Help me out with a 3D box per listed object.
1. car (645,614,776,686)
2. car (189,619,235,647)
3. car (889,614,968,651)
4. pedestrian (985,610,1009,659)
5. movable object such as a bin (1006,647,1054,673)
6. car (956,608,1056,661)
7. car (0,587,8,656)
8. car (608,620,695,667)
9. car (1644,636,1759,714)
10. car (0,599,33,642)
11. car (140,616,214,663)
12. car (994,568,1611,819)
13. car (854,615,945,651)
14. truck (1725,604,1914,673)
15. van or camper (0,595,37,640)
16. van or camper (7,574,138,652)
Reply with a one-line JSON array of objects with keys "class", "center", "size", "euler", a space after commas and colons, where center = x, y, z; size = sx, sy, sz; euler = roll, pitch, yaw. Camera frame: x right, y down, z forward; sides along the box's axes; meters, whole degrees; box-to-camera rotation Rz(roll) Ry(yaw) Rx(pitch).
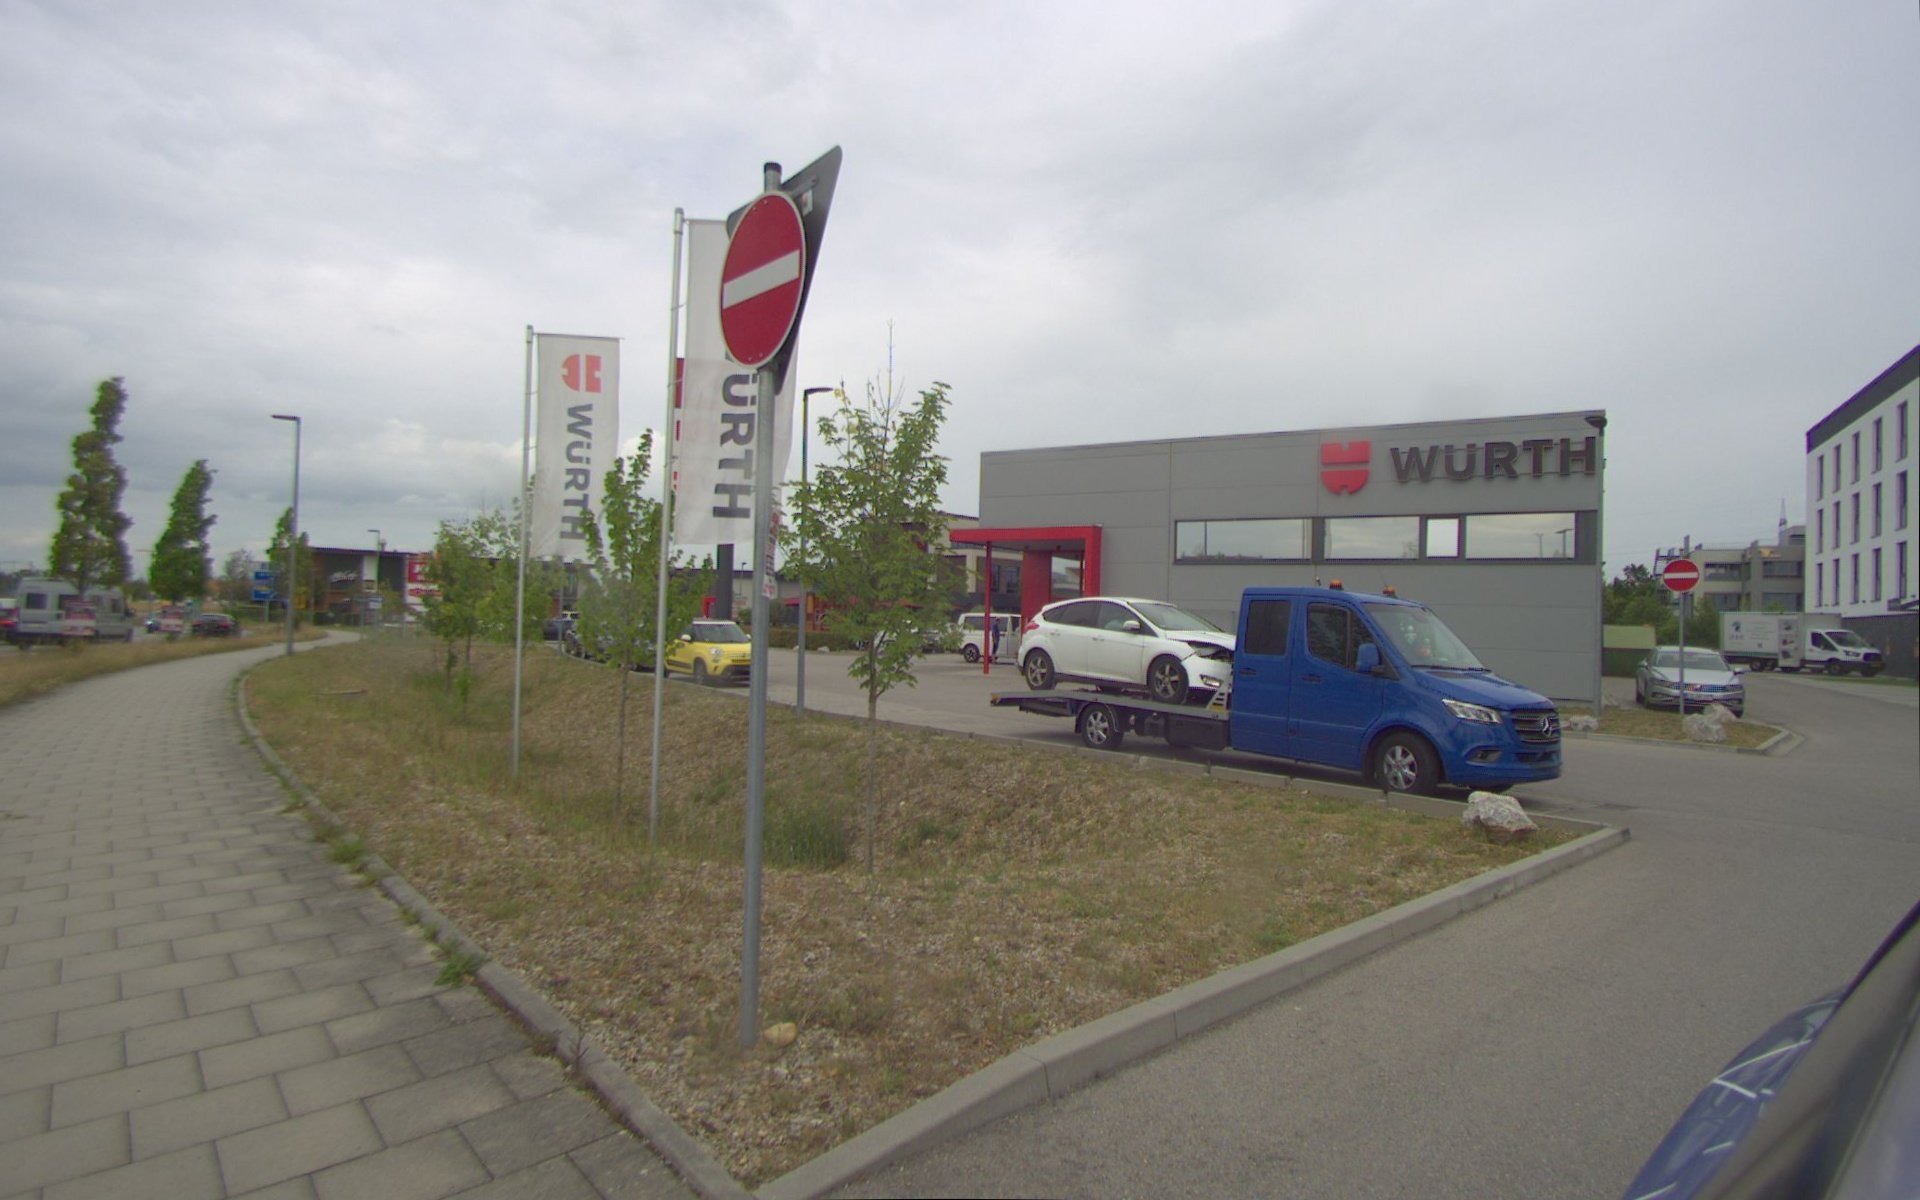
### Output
[{"class": "car", "center": [-6.675, 1.252, 26.820], "size": [1.721, 1.705, 4.294], "euler": [1, -1, -39]}, {"class": "car", "center": [-39.220, 1.697, 53.121], "size": [1.464, 1.403, 3.345], "euler": [1, -1, -29]}, {"class": "car", "center": [-1.739, 1.748, 55.667], "size": [3.972, 1.883, 1.975], "euler": [1, -1, 34]}, {"class": "pedestrian", "center": [1.414, 1.316, 38.914], "size": [0.654, 1.831, 0.641], "euler": [1, -1, 34]}, {"class": "movable object such as a bin", "center": [2.133, 1.808, 30.741], "size": [0.797, 0.725, 1.566], "euler": [0, -2, 32]}, {"class": "car", "center": [1.798, 1.339, 40.231], "size": [3.648, 2.005, 1.656], "euler": [0, -1, 33]}, {"class": "car", "center": [-26.870, 0.559, 26.278], "size": [1.960, 1.948, 4.852], "euler": [2, -2, -30]}, {"class": "car", "center": [-9.968, 1.345, 32.502], "size": [1.709, 1.379, 4.002], "euler": [1, -1, -31]}, {"class": "car", "center": [17.565, 1.682, 23.925], "size": [1.971, 1.510, 4.704], "euler": [3, 0, 38]}, {"class": "car", "center": [-37.524, 0.767, 38.982], "size": [1.871, 1.588, 4.338], "euler": [2, -1, -32]}, {"class": "car", "center": [-29.774, 1.463, 38.575], "size": [1.651, 1.698, 3.509], "euler": [1, -1, -29]}, {"class": "car", "center": [3.742, 0.874, 13.306], "size": [2.160, 2.352, 7.854], "euler": [2, -1, -36]}, {"class": "car", "center": [-3.197, 1.725, 53.156], "size": [4.709, 1.771, 1.736], "euler": [0, -1, 34]}, {"class": "truck", "center": [40.810, 1.743, 48.442], "size": [2.387, 3.055, 7.078], "euler": [1, -1, -8]}, {"class": "van or camper", "center": [-44.072, 0.748, 45.937], "size": [1.959, 1.936, 5.210], "euler": [2, -1, -29]}, {"class": "van or camper", "center": [-31.916, 0.499, 36.636], "size": [2.151, 2.574, 6.172], "euler": [2, -2, -29]}]
